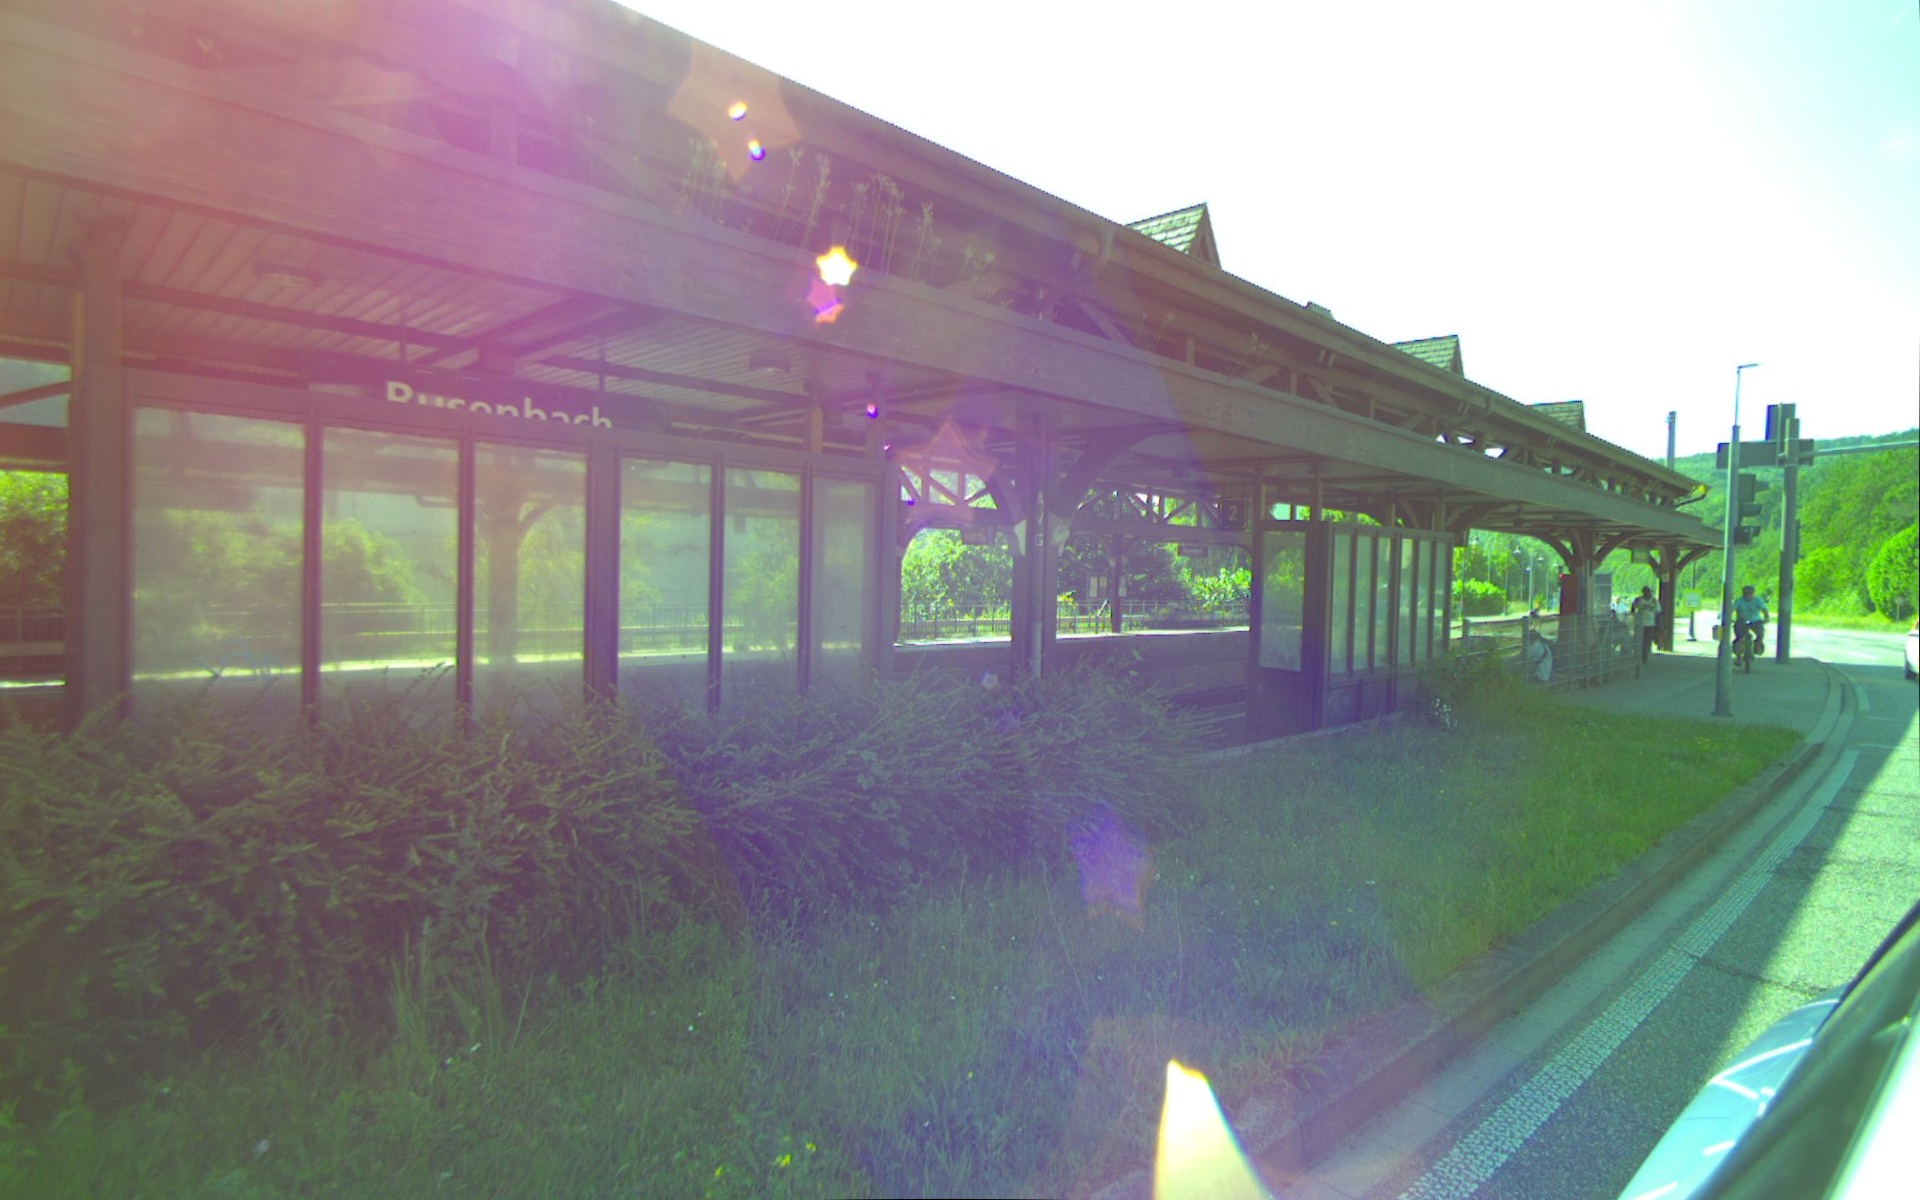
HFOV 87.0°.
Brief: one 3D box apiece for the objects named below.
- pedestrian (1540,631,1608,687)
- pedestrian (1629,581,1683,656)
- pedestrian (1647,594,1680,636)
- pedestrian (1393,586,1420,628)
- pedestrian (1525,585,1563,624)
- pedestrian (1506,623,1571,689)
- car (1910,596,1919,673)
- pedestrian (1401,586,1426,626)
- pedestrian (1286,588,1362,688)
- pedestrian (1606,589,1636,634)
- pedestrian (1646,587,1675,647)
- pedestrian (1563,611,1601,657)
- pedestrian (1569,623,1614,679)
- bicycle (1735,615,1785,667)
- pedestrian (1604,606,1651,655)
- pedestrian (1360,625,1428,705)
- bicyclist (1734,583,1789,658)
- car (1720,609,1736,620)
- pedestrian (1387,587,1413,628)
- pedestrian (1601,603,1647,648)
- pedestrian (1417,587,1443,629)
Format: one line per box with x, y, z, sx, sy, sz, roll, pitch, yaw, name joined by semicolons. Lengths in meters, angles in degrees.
10.247;0.973;16.885;0.844;0.885;0.795;-1;-2;42;pedestrian
17.001;0.457;24.707;0.913;1.759;1.232;-1;-2;42;pedestrian
28.977;0.624;41.715;0.810;1.706;0.900;0;-2;14;pedestrian
19.947;0.331;45.223;0.899;1.873;0.811;-1;-2;38;pedestrian
25.505;0.207;44.222;1.101;1.706;0.905;1;-2;-13;pedestrian
9.121;0.867;15.954;0.741;0.995;0.757;-1;-2;42;pedestrian
20.680;0.718;20.354;1.990;1.605;3.942;-1;-1;40;car
21.210;0.295;47.288;0.899;1.873;0.811;-1;-2;38;pedestrian
5.991;0.601;16.648;0.860;1.567;0.908;1;-1;43;pedestrian
25.395;0.457;38.881;0.813;1.706;0.896;0;-2;24;pedestrian
20.158;0.478;29.119;0.655;1.713;0.730;1;1;35;pedestrian
26.318;1.440;42.821;1.052;1.867;0.991;3;-2;-33;pedestrian
11.245;0.896;18.032;0.616;0.978;0.400;-1;-2;42;pedestrian
17.308;0.871;21.883;1.784;1.069;0.602;0;-1;-44;bicycle
17.442;0.793;26.437;0.988;1.251;0.589;-1;-2;36;pedestrian
6.375;0.930;14.860;0.741;1.131;0.657;-1;-2;42;pedestrian
17.367;0.438;21.929;0.931;1.589;0.785;0;-1;-44;bicyclist
129.644;2.470;170.914;1.990;1.772;3.942;-1;-2;40;car
20.174;0.359;46.419;0.899;1.873;0.811;-1;-2;38;pedestrian
18.053;0.679;27.506;1.003;1.174;0.937;1;0;35;pedestrian
21.383;0.359;46.012;0.899;1.873;0.811;-1;-2;38;pedestrian
